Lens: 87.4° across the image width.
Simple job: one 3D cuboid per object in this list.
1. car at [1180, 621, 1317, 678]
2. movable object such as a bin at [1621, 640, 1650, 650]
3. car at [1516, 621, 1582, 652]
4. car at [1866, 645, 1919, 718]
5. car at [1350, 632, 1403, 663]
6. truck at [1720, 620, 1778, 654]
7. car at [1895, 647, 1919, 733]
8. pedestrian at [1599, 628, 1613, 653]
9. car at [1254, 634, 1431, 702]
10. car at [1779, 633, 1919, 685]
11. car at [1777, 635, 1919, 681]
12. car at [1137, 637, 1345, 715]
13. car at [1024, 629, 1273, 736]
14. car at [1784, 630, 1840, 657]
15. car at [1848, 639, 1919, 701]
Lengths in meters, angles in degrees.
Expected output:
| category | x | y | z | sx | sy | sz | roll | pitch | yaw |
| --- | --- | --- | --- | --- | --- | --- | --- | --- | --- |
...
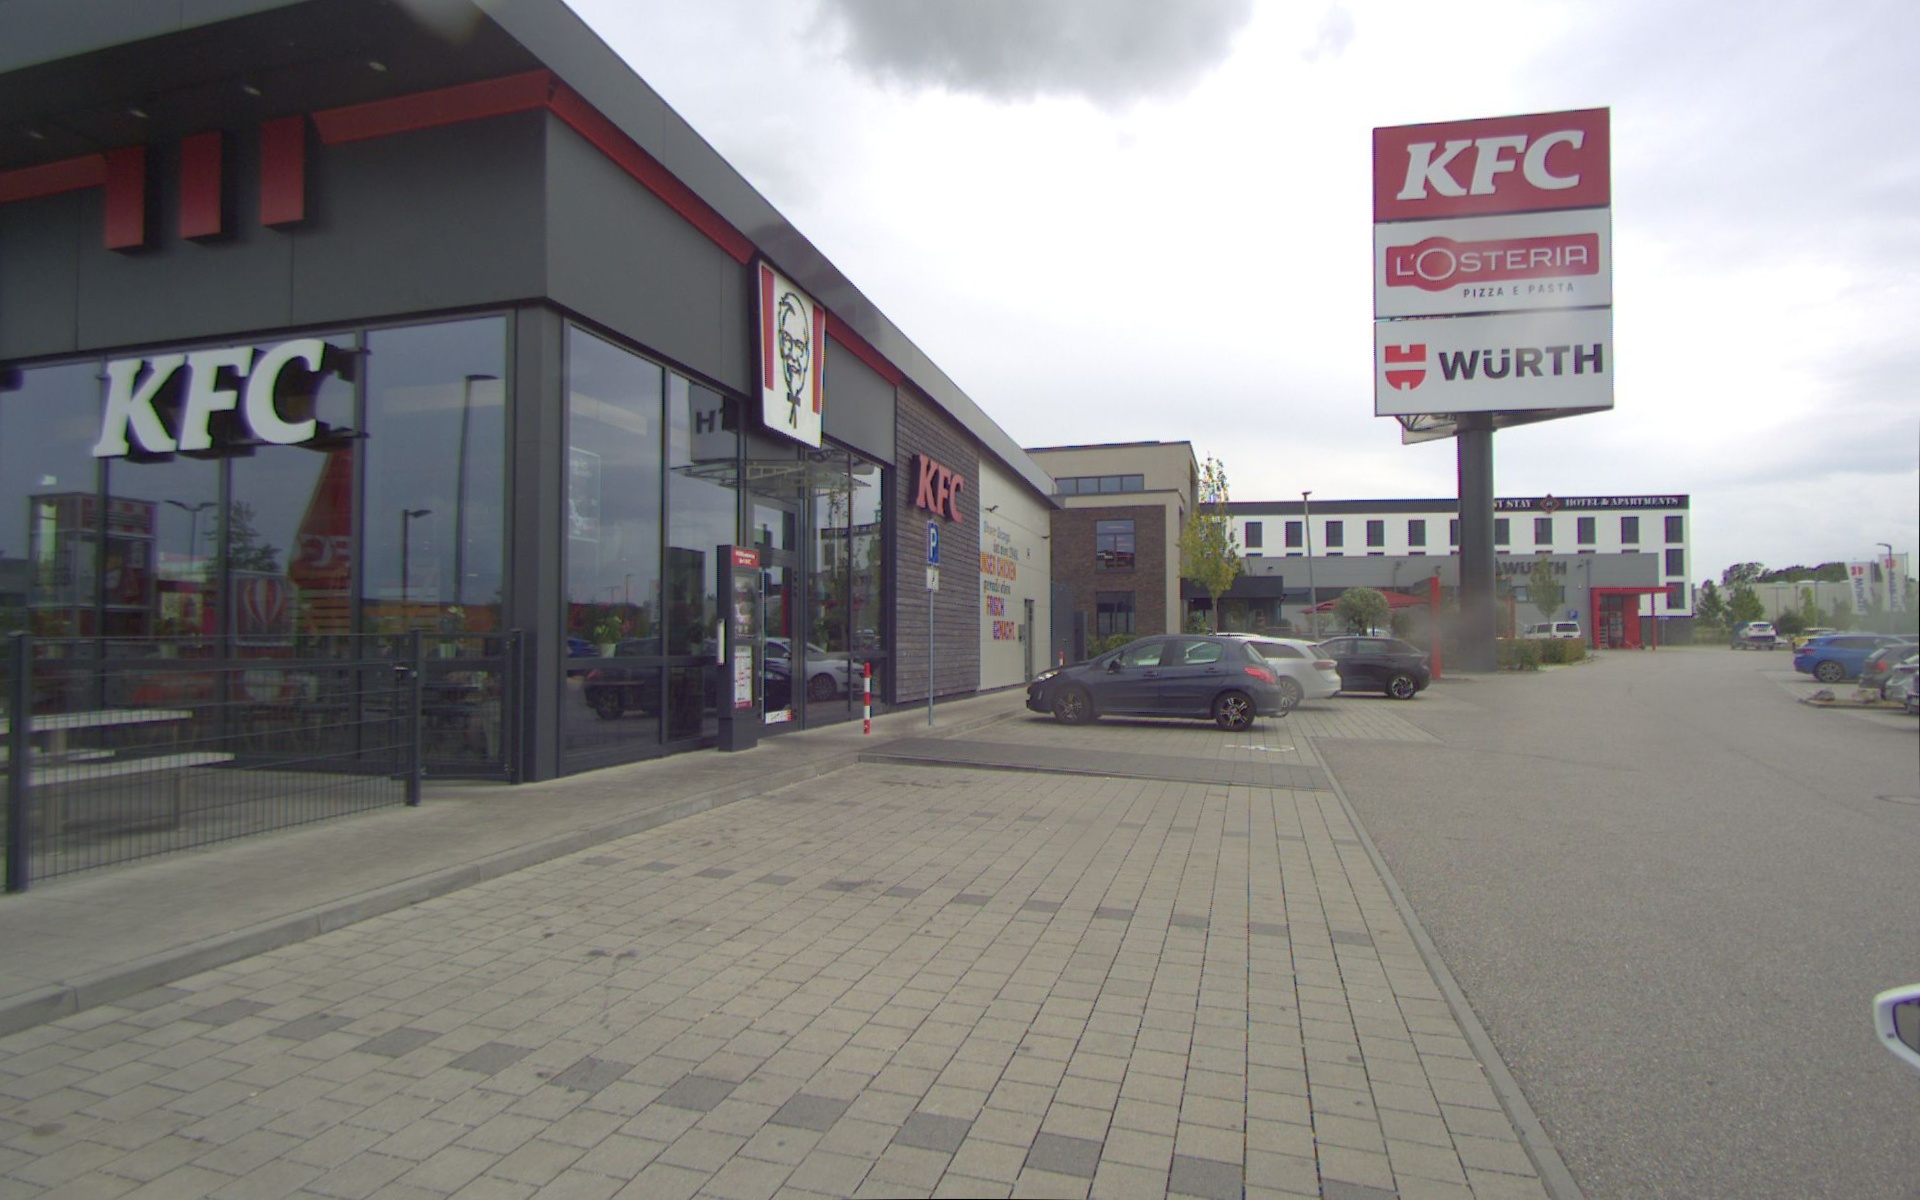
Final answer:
| category | x | y | z | sx | sy | sz | roll | pitch | yaw |
| --- | --- | --- | --- | --- | --- | --- | --- | --- | --- |
| car | 8.940 | 1.548 | 31.204 | 3.921 | 1.617 | 1.737 | -2 | -3 | 17 |
| movable object such as a bin | 48.941 | 3.237 | 72.790 | 1.463 | 0.713 | 0.966 | 1 | -2 | 14 |
| car | 39.968 | 2.532 | 68.247 | 2.021 | 1.879 | 4.064 | -5 | -3 | 2 |
| car | 21.080 | 1.702 | 20.260 | 3.872 | 1.431 | 1.835 | 1 | -1 | 33 |
| car | 24.452 | 2.780 | 59.127 | 1.959 | 1.672 | 4.582 | -2 | -3 | 11 |
| truck | 63.472 | 3.031 | 80.987 | 2.296 | 2.437 | 7.888 | 0 | -4 | 28 |
| car | 18.019 | 1.559 | 16.366 | 3.740 | 1.431 | 1.735 | 1 | -1 | 30 |
| pedestrian | 48.373 | 3.008 | 75.222 | 0.665 | 1.826 | 0.881 | 0 | -1 | 14 |
| car | 9.552 | 1.680 | 25.363 | 4.041 | 1.548 | 1.742 | 0 | -2 | 17 |
| car | 29.171 | 1.871 | 32.445 | 4.150 | 1.565 | 1.857 | -1 | -2 | 38 |
| car | 30.640 | 1.978 | 34.435 | 4.013 | 1.479 | 1.768 | -2 | -2 | 40 |
| car | 5.998 | 1.571 | 21.551 | 4.096 | 1.505 | 2.001 | -1 | -1 | 18 |
| car | 3.178 | 1.298 | 16.757 | 3.861 | 1.506 | 1.759 | 1 | -1 | 18 |
| car | 56.084 | 2.848 | 66.167 | 1.827 | 1.671 | 3.997 | 1 | -2 | 25 |
| car | 23.974 | 1.703 | 24.005 | 3.934 | 1.447 | 1.722 | 0 | -1 | 36 |
